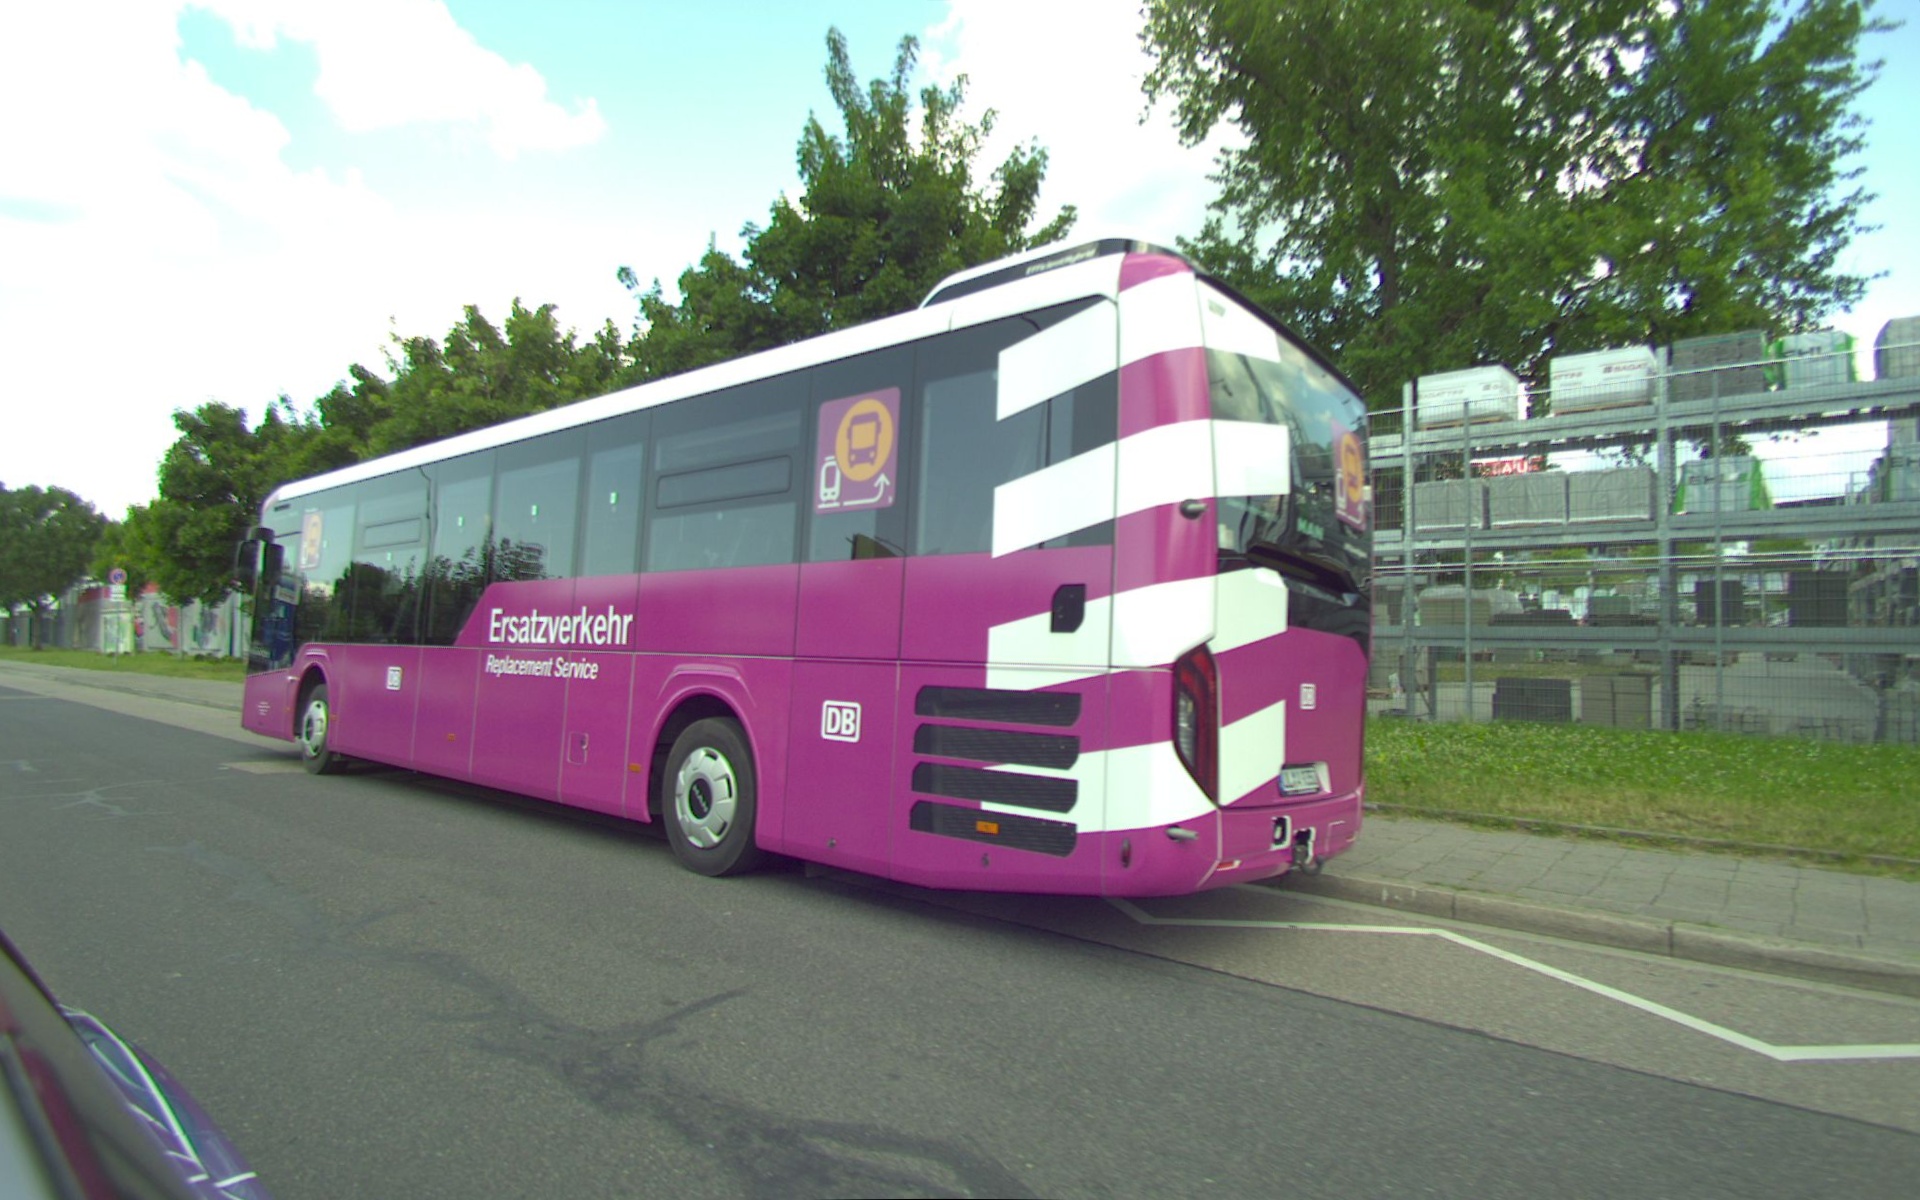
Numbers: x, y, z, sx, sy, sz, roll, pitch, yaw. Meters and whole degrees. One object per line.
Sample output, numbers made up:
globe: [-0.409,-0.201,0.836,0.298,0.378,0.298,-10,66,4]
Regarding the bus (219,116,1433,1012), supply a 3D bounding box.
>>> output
bus: [-3.111,0.061,9.170,13.208,3.449,2.635,-2,-6,40]
